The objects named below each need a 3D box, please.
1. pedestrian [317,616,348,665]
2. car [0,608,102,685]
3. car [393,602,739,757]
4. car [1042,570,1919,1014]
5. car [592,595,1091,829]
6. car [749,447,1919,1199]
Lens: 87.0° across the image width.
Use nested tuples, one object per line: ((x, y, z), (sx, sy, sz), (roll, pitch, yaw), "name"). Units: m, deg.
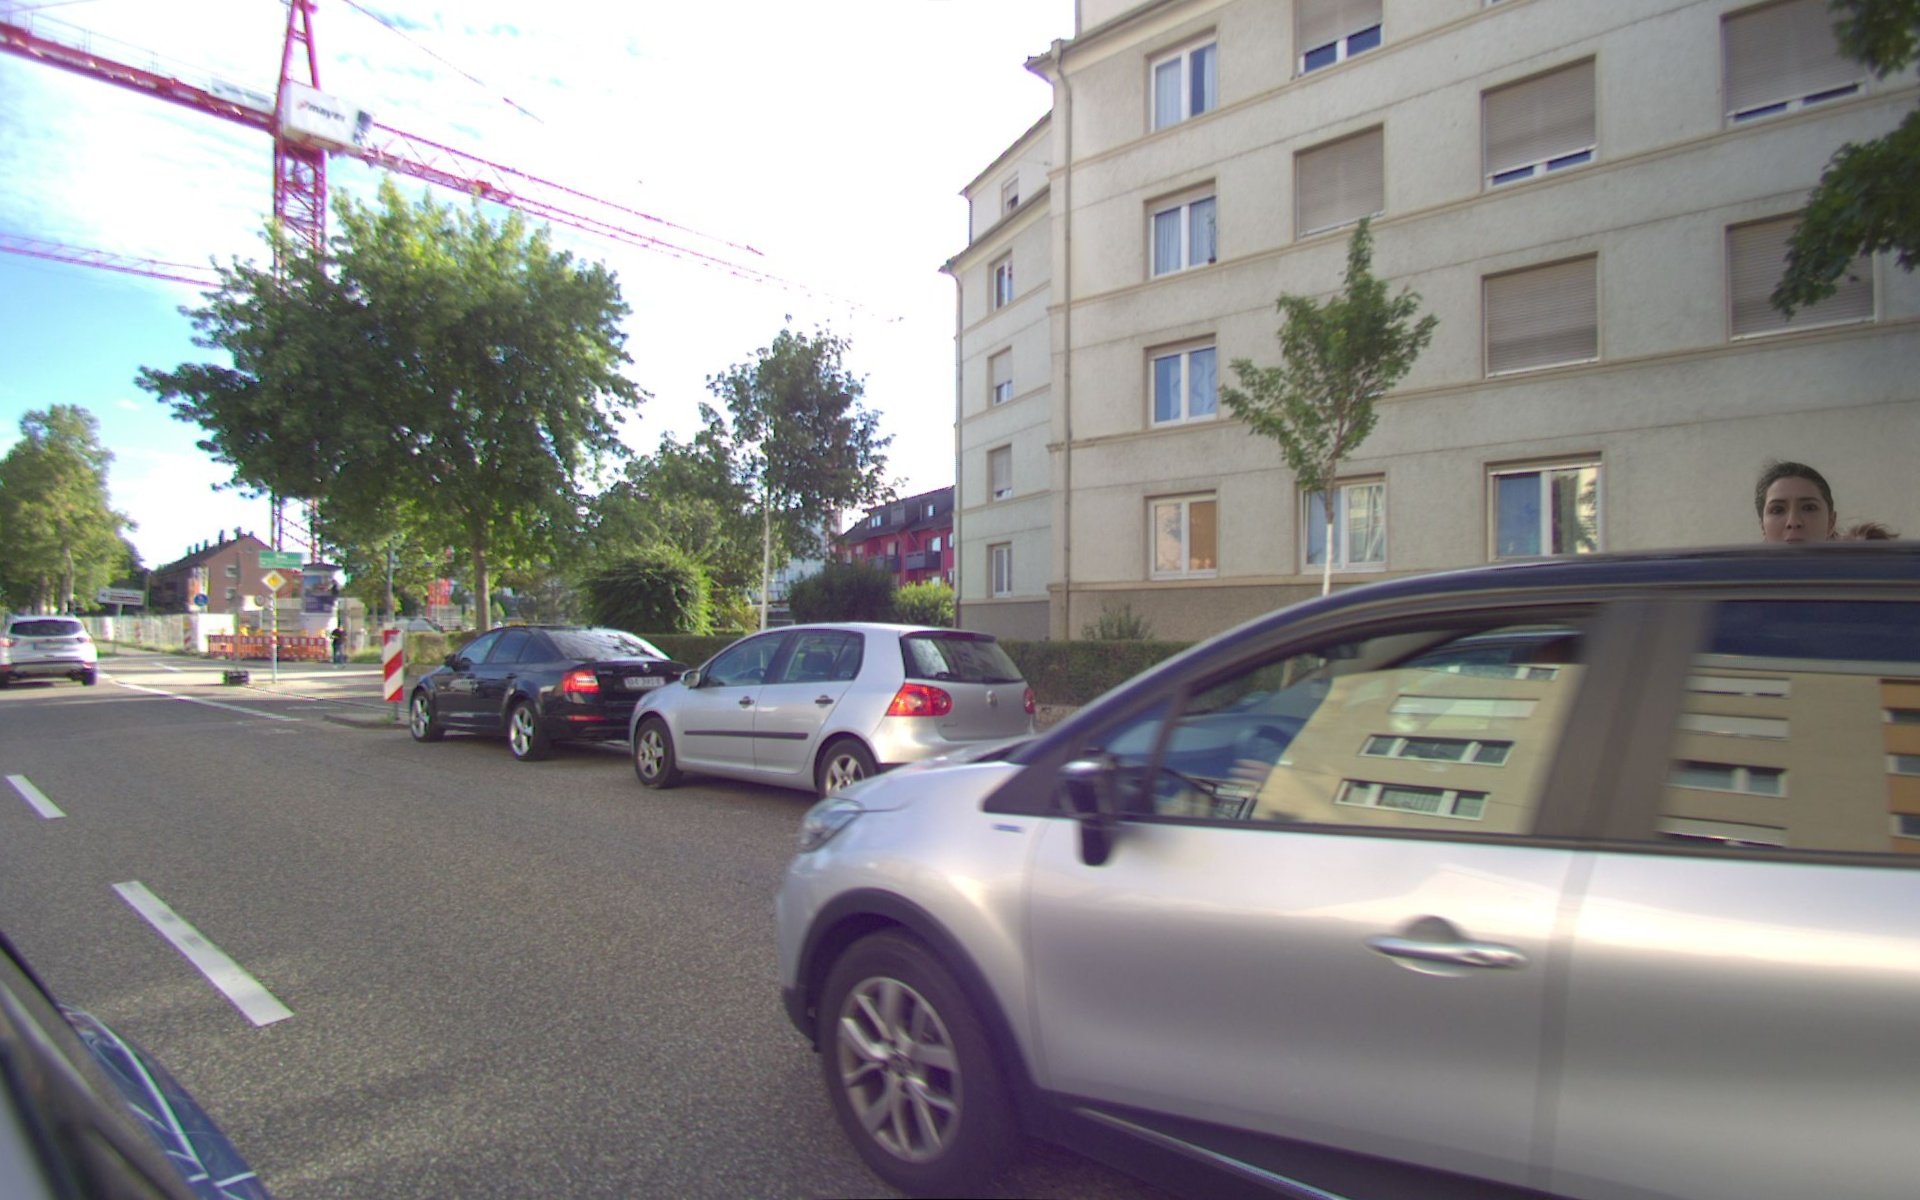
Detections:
((-23.042, 1.487, 37.164), (0.775, 1.782, 0.734), (-2, -3, 41), "pedestrian")
((-22.106, 1.058, 24.292), (4.083, 1.682, 1.810), (-1, -1, 42), "car")
((-4.772, 0.863, 11.969), (4.417, 1.497, 1.907), (-1, -4, 40), "car")
((2.823, 0.699, 5.044), (4.682, 1.497, 1.835), (-2, -3, 42), "car")
((-1.198, 0.812, 8.647), (4.368, 1.497, 1.801), (-2, -4, 42), "car")
((1.494, 0.594, 2.084), (4.008, 1.513, 1.722), (-1, -2, 41), "car")
